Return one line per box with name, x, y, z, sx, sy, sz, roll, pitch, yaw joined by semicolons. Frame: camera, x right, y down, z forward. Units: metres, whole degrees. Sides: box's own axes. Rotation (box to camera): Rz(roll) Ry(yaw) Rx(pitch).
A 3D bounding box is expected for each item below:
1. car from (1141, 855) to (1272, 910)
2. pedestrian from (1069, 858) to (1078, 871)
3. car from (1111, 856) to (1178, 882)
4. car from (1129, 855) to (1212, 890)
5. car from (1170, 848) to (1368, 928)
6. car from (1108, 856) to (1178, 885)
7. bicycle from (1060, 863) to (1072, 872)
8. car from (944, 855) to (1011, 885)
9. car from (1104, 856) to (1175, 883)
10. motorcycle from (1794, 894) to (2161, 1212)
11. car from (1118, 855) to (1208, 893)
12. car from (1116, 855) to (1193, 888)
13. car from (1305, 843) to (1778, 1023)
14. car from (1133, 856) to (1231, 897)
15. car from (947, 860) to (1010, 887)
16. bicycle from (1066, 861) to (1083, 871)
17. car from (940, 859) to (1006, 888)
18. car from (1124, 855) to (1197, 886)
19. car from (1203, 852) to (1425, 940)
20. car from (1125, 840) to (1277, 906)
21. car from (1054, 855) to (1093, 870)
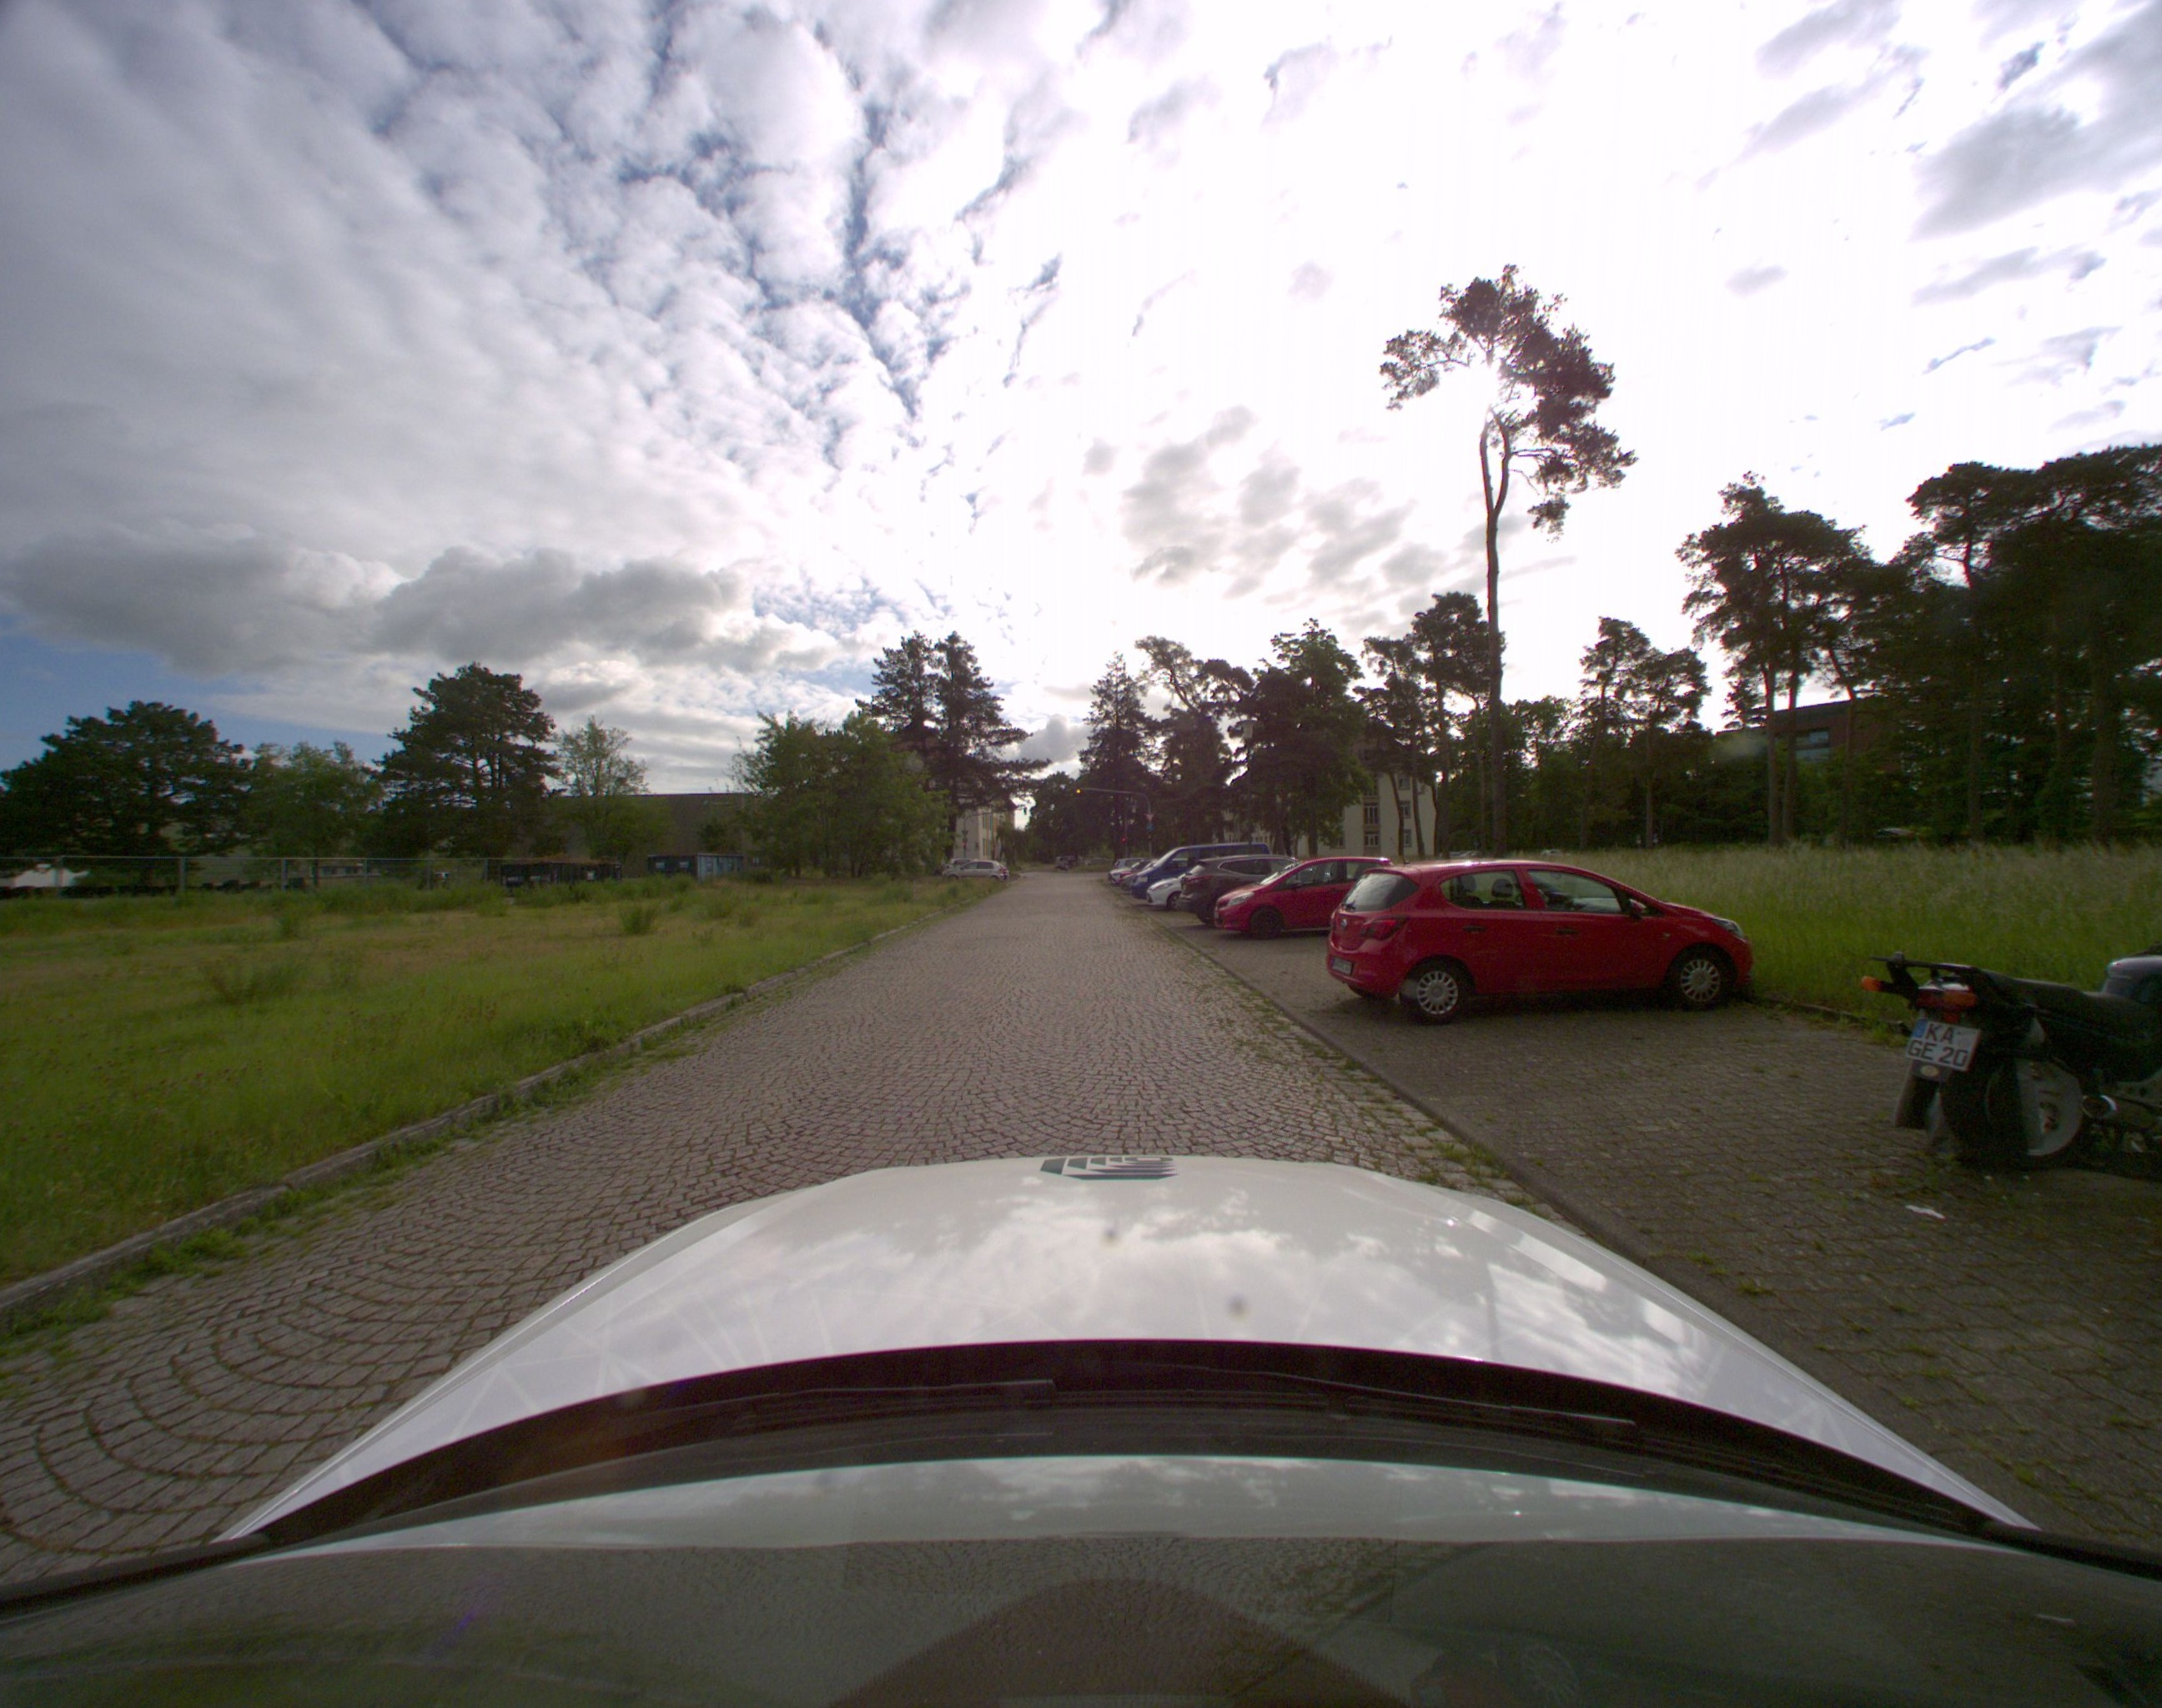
car;3.784;0.855;24.917;3.665;1.449;1.612;-2;-1;-4
pedestrian;-0.890;1.298;100.302;1.032;1.614;0.756;0;-1;-7
car;3.999;0.923;51.308;3.962;1.421;1.616;-2;-1;-6
car;4.200;0.864;38.567;3.664;1.449;1.522;-2;-1;-3
car;4.197;0.737;18.555;4.020;1.552;1.748;-2;-1;-4
car;3.442;0.910;45.787;3.667;1.421;1.521;-2;-1;-6
bicycle;-1.768;1.586;95.987;0.623;0.945;1.647;0;-1;-29
car;-6.986;1.096;55.319;4.251;1.840;1.742;-2;-1;-2
car;3.477;0.934;48.643;3.962;1.421;1.616;-2;-1;-6
motorcycle;4.818;0.832;3.823;2.322;1.185;0.794;-2;-1;-4
car;3.555;0.873;35.560;3.664;1.449;1.522;-2;-1;-3
car;3.674;0.871;41.257;3.664;1.449;1.522;-2;-1;-3
car;4.472;0.721;8.323;3.816;1.460;1.778;-2;-1;-2
car;4.027;0.877;32.795;3.664;1.449;1.522;-2;-1;-3
car;-6.581;1.229;52.342;3.812;1.572;1.563;-2;-1;-2
bicycle;-0.795;1.509;99.908;2.134;1.215;0.620;0;-1;-7
car;-6.582;1.174;49.926;3.815;1.572;1.562;-2;-1;-5
car;4.222;0.881;43.557;3.664;1.449;1.522;-2;-1;-3
car;4.445;0.774;15.911;3.781;1.460;1.750;-2;-1;-2
car;3.977;0.616;27.518;4.744;1.954;1.929;-2;-1;-4
car;-1.089;1.227;117.988;5.447;2.014;2.260;0;-1;-11
